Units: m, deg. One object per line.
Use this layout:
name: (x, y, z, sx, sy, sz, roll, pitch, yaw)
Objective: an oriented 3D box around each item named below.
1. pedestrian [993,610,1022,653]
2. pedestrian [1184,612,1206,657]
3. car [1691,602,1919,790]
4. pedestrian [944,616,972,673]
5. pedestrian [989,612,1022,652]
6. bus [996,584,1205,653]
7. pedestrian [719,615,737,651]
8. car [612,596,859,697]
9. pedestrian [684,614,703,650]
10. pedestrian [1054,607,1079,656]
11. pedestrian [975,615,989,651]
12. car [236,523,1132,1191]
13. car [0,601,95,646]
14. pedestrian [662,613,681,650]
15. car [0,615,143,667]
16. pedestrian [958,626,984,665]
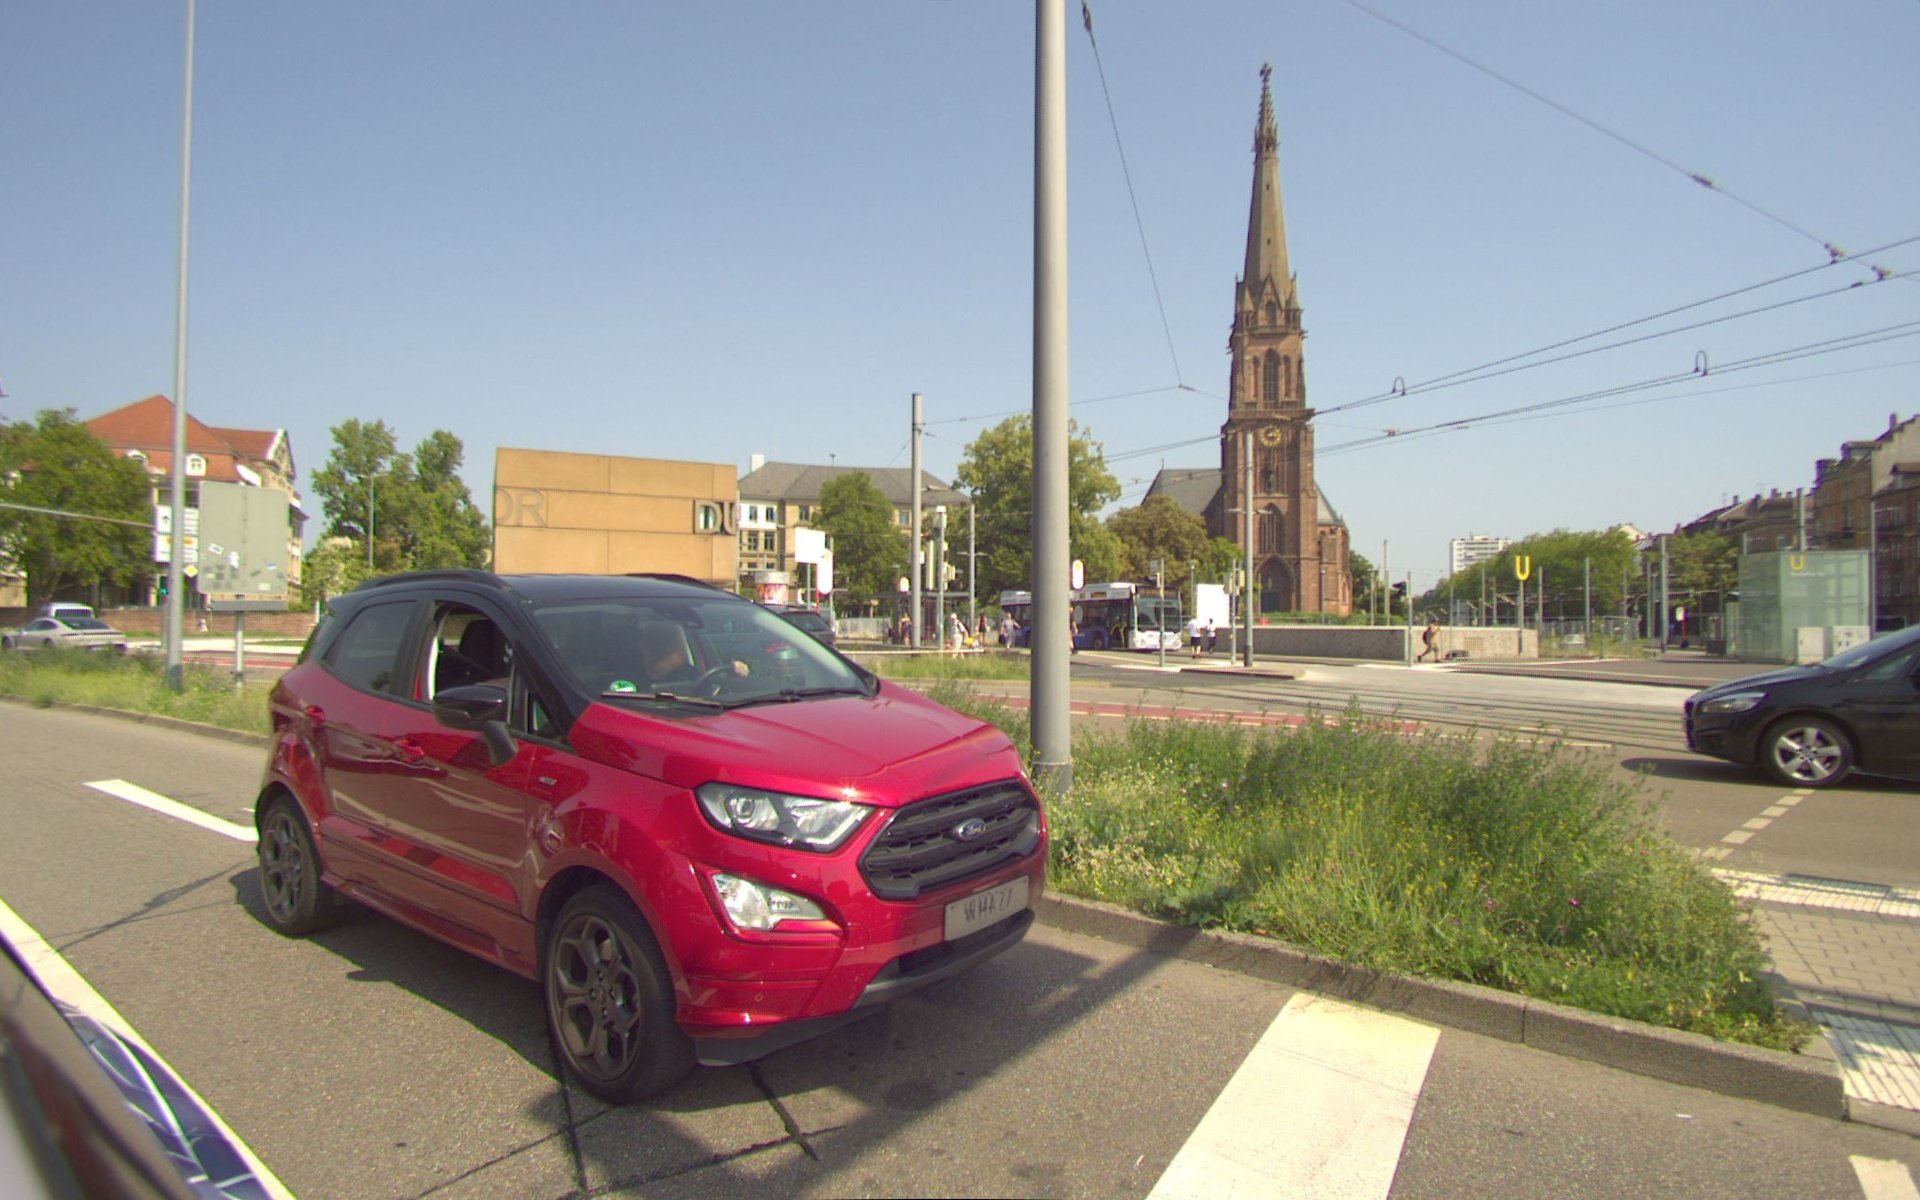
pedestrian: (2.040, 1.346, 43.926, 0.913, 1.837, 0.940, 1, -2, -26)
pedestrian: (9.601, 1.400, 41.323, 0.592, 1.825, 0.639, -1, 0, -39)
car: (9.070, 0.818, 8.867, 4.196, 1.572, 1.719, -1, -2, 33)
pedestrian: (-0.065, 1.344, 30.922, 0.681, 1.724, 0.538, 1, -2, -20)
pedestrian: (1.989, 1.401, 43.959, 1.060, 1.709, 1.068, 1, -2, -25)
bus: (5.887, 0.884, 46.199, 3.346, 2.733, 12.383, 1, -2, -24)
pedestrian: (-9.743, 1.392, 42.489, 0.540, 1.508, 0.533, -1, -2, 36)
car: (-4.083, 0.782, 18.079, 4.534, 1.612, 1.750, -1, -2, 36)
pedestrian: (-11.173, 1.333, 42.412, 0.540, 1.508, 0.533, -1, -2, 36)
pedestrian: (4.053, 1.212, 38.641, 0.792, 1.837, 0.535, 1, -2, -25)
pedestrian: (1.125, 1.704, 51.870, 0.631, 1.825, 0.599, 0, 0, 12)
car: (-1.390, 0.634, 4.272, 3.839, 1.598, 1.674, -1, 0, 38)
car: (-39.236, 1.001, 43.459, 3.897, 1.868, 1.851, 0, -2, 28)
pedestrian: (-11.896, 1.304, 41.689, 0.540, 1.508, 0.533, -1, -2, 36)
car: (-28.865, 1.295, 32.670, 4.687, 1.597, 1.983, -1, -2, 25)
pedestrian: (0.324, 1.357, 30.383, 0.591, 1.134, 0.640, -1, 0, -22)
